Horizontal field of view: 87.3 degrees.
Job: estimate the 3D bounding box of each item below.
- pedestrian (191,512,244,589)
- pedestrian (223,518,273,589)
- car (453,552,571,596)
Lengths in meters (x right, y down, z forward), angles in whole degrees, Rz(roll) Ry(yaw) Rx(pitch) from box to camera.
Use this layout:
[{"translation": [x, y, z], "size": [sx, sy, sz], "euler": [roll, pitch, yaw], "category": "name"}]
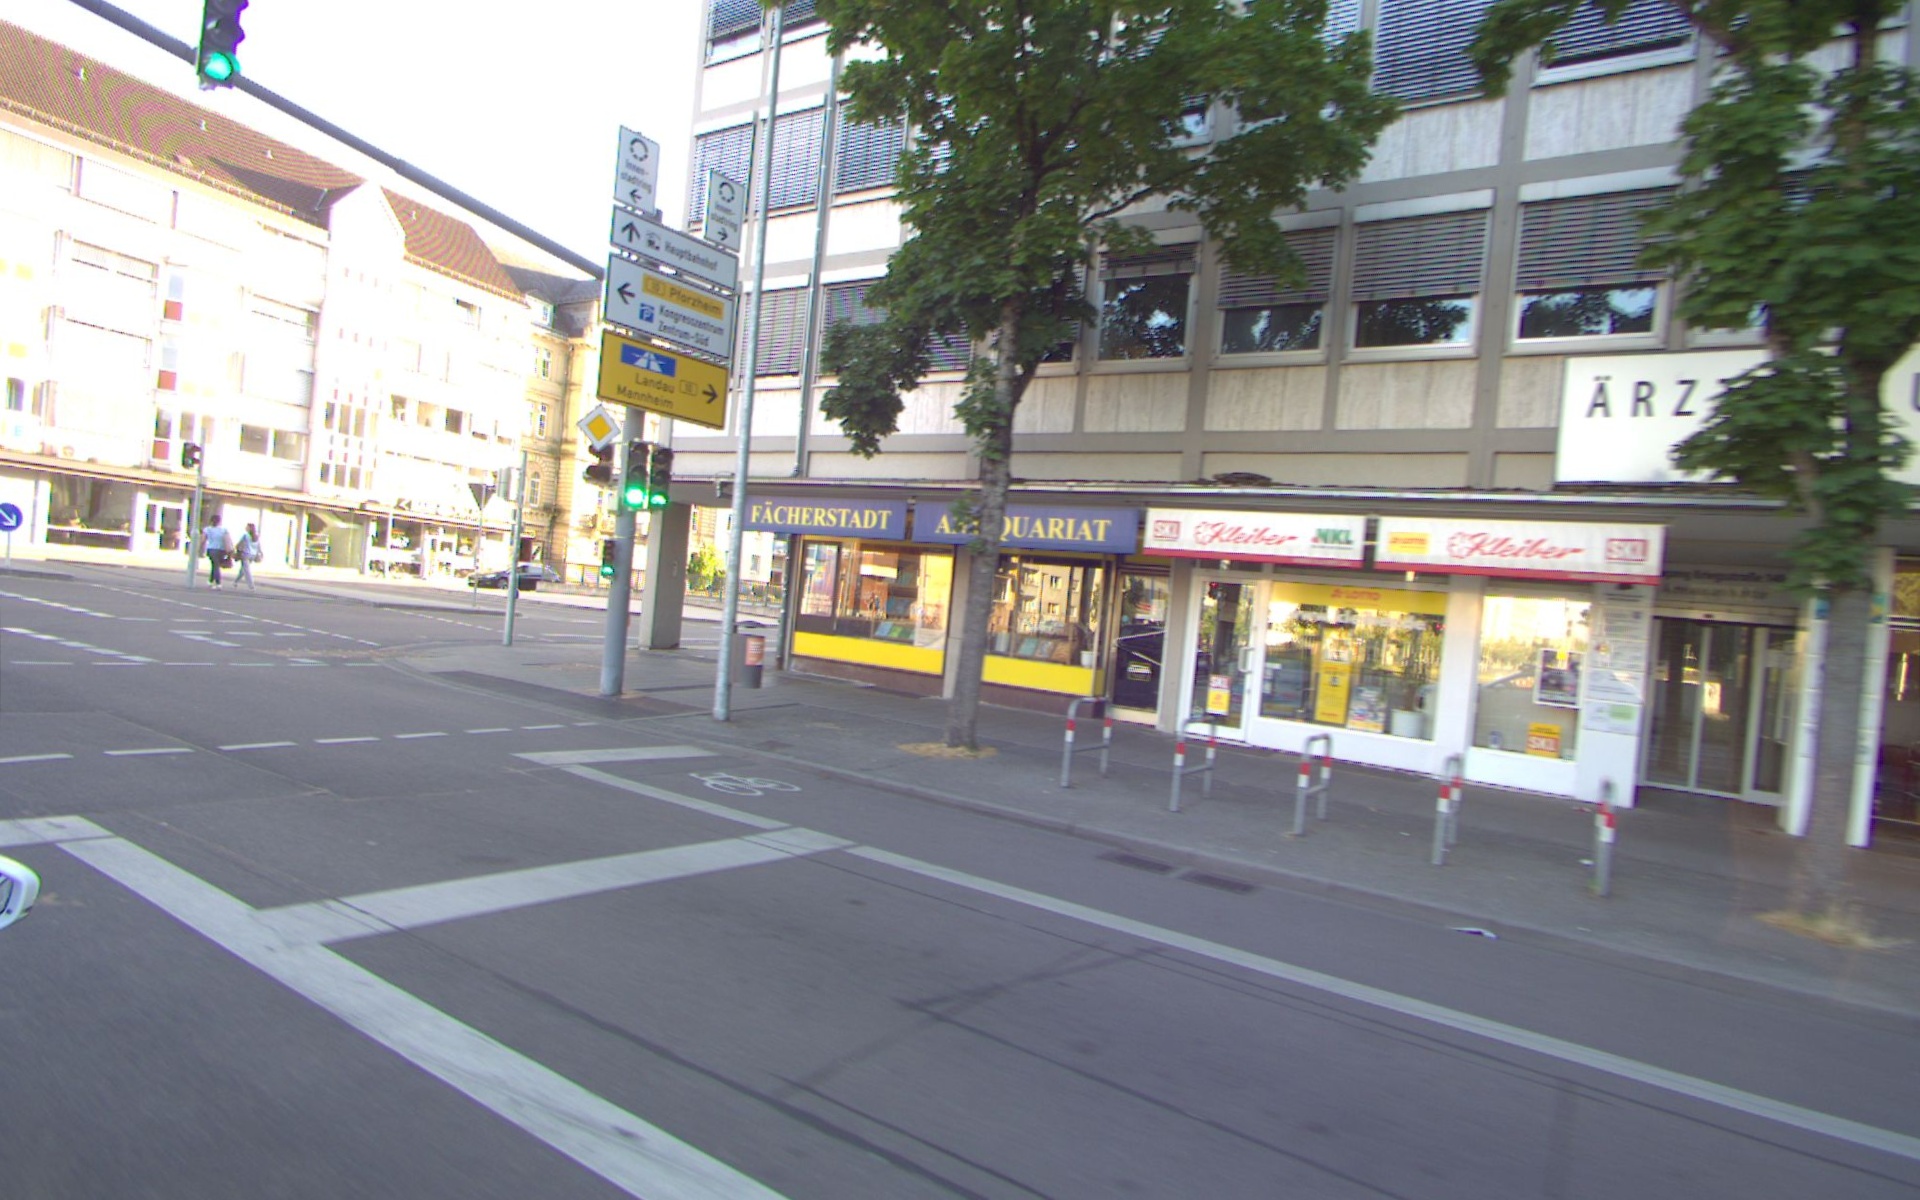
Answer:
[{"translation": [-17.067, -1.126, 23.140], "size": [0.717, 1.670, 0.767], "euler": [5, 1, -23], "category": "pedestrian"}, {"translation": [-16.935, -1.095, 23.946], "size": [0.696, 1.602, 0.821], "euler": [5, 1, -23], "category": "pedestrian"}, {"translation": [-21.327, -1.214, 48.043], "size": [2.189, 1.575, 4.596], "euler": [6, 0, 36], "category": "car"}]
